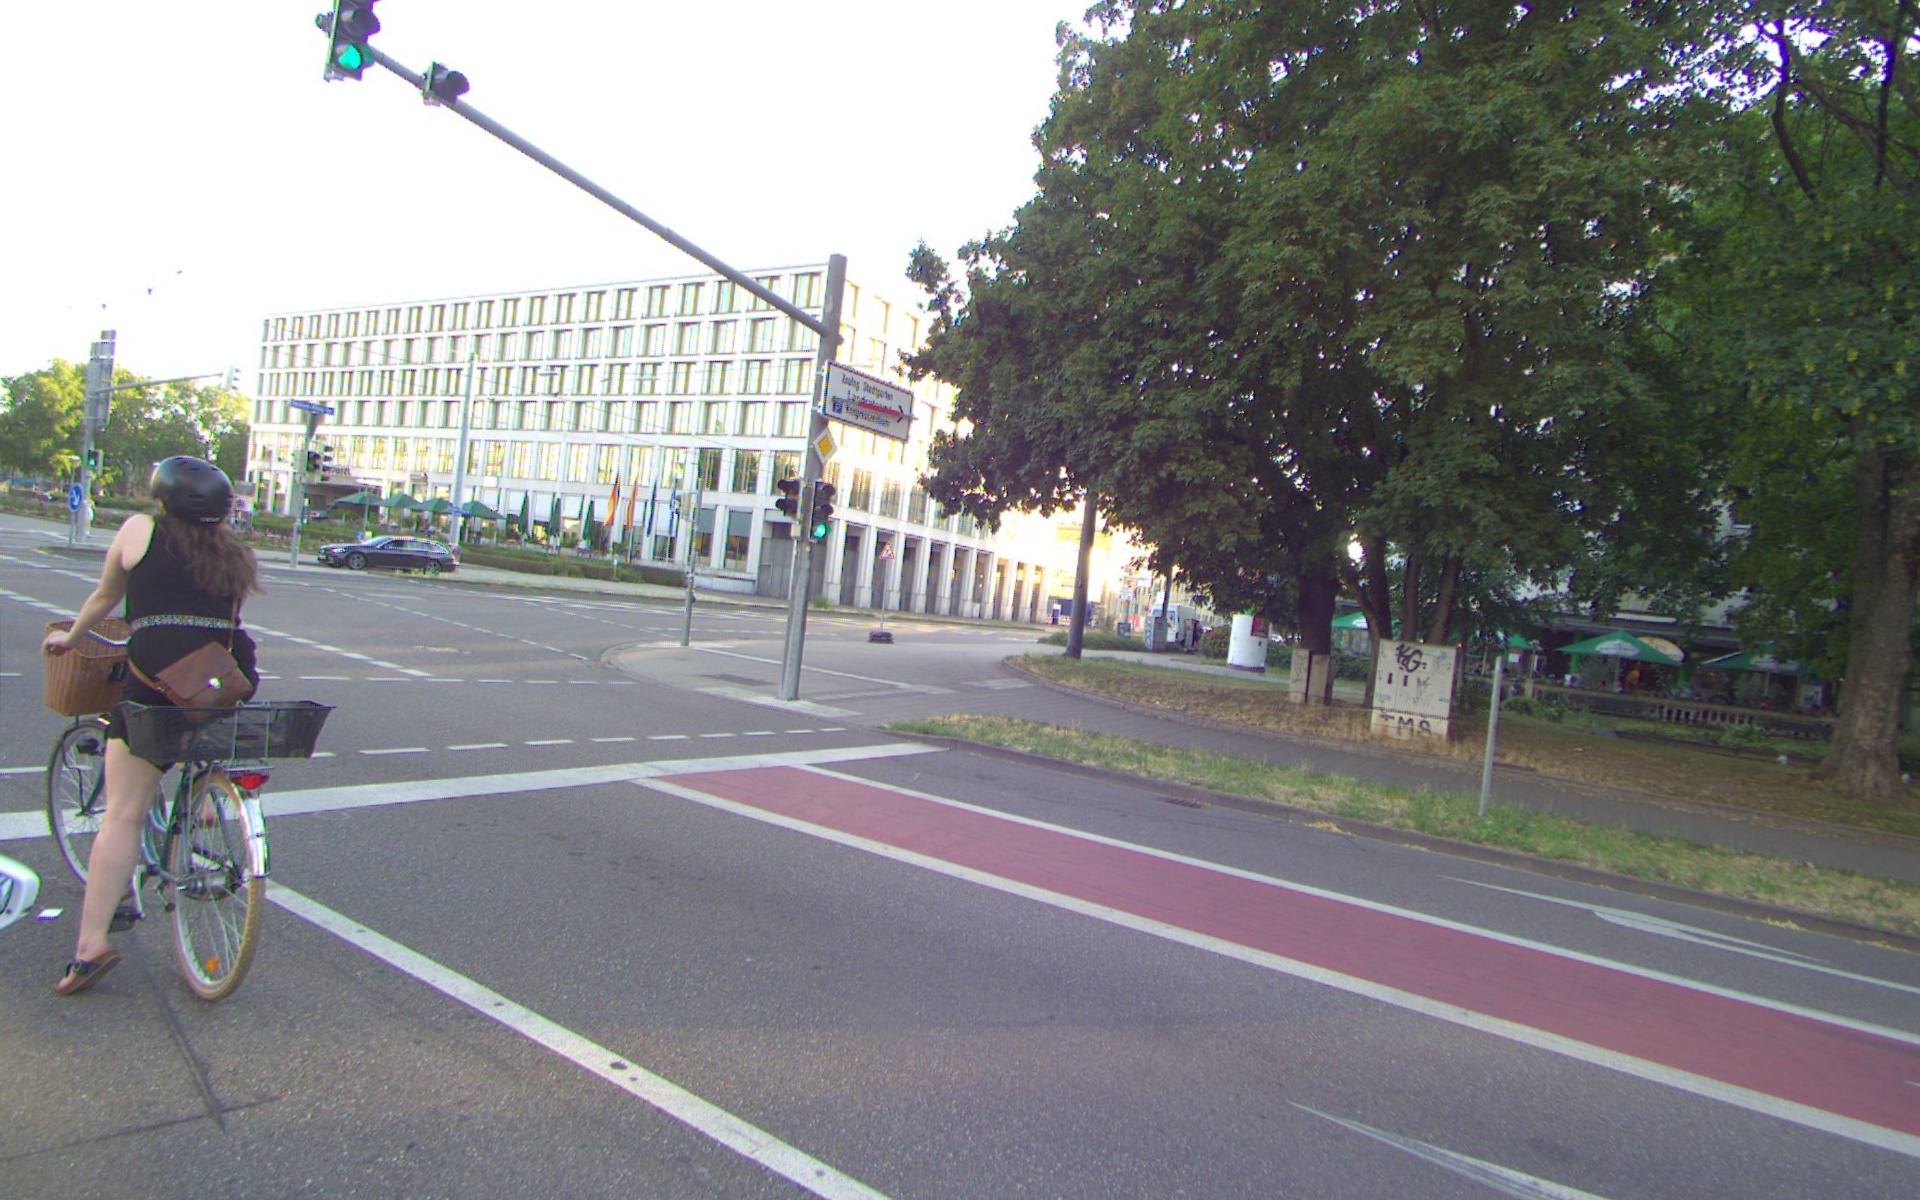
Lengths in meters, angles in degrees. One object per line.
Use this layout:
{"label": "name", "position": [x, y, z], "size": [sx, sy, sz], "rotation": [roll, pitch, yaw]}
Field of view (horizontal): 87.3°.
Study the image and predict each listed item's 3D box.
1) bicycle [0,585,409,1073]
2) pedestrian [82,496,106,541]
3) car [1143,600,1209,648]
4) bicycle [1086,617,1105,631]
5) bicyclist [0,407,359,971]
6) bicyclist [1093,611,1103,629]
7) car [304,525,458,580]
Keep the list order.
{"label": "bicycle", "position": [-2.818, 0.625, 3.470], "size": [1.971, 1.146, 0.612], "rotation": [7, -1, 32]}
{"label": "pedestrian", "position": [-31.961, -3.007, 37.124], "size": [0.402, 1.559, 0.491], "rotation": [7, 2, 31]}
{"label": "car", "position": [11.980, 1.362, 55.590], "size": [1.967, 2.318, 4.605], "rotation": [6, 0, 31]}
{"label": "bicycle", "position": [12.019, 2.150, 89.406], "size": [0.592, 1.120, 2.775], "rotation": [7, 0, 29]}
{"label": "bicyclist", "position": [-2.729, 0.238, 3.450], "size": [0.982, 1.655, 0.600], "rotation": [7, 0, 32]}
{"label": "bicyclist", "position": [12.333, 1.782, 89.895], "size": [0.567, 1.556, 0.708], "rotation": [7, 1, 29]}
{"label": "car", "position": [-22.807, -1.844, 39.807], "size": [1.968, 1.534, 4.826], "rotation": [7, 0, 34]}
